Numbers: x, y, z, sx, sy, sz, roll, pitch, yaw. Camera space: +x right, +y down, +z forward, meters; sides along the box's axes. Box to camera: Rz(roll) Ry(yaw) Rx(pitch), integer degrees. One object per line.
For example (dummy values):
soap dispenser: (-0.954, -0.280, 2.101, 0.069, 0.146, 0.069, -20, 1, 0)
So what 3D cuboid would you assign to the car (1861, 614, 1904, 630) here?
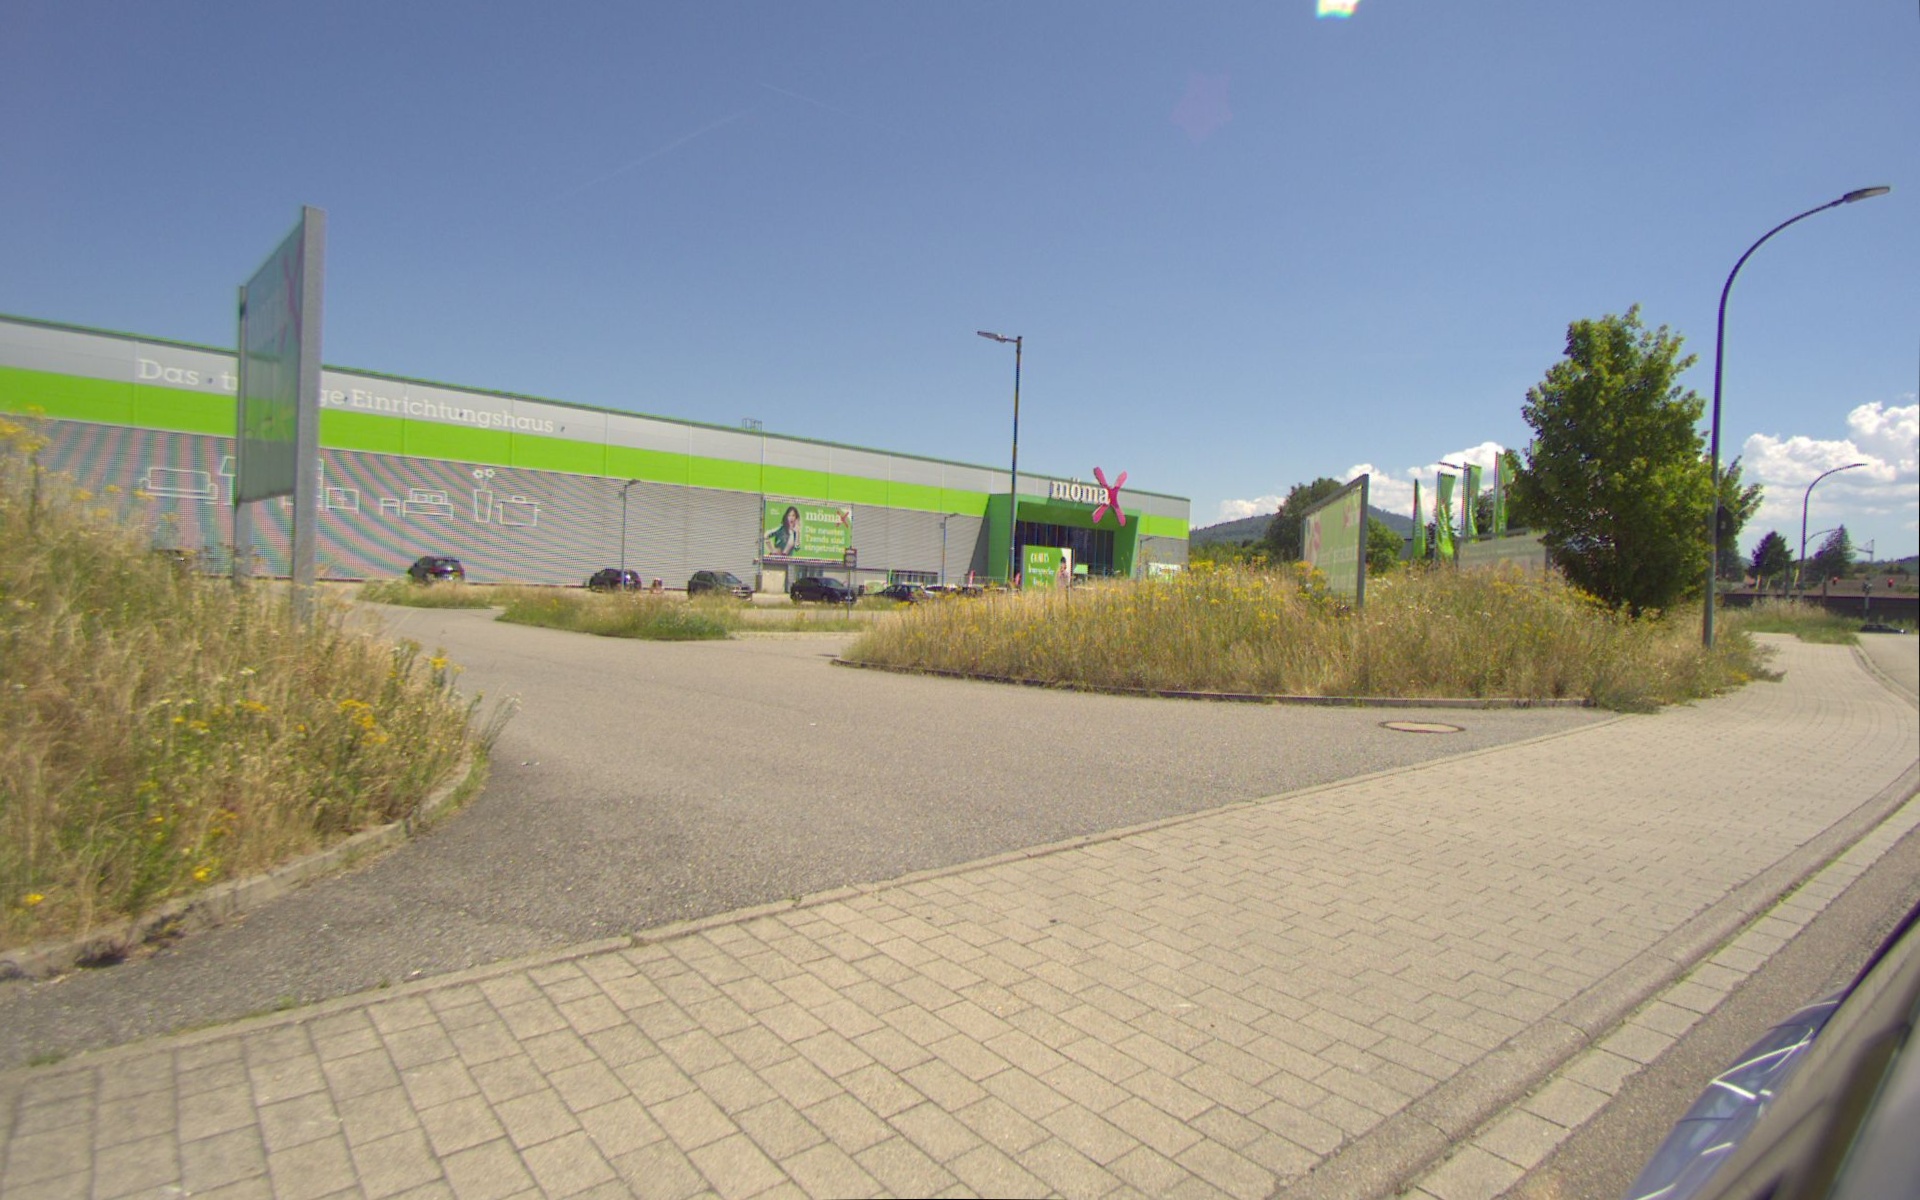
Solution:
car: (112.372, 2.671, 123.295, 1.818, 1.559, 3.739, 0, 4, -42)

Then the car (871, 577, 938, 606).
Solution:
car: (-3.341, -0.518, 60.930, 1.914, 1.523, 3.994, 1, 2, -42)

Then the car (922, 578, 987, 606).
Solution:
car: (-0.363, -0.499, 63.886, 1.914, 1.523, 3.994, 1, 2, -42)

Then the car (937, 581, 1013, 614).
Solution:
car: (0.808, -0.157, 55.382, 1.914, 1.550, 3.994, 1, 2, -42)

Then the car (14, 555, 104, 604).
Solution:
car: (-31.155, -0.732, 34.962, 3.987, 1.538, 1.969, 3, 2, 43)

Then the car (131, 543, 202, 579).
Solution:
car: (-36.862, -1.841, 47.008, 3.986, 1.538, 1.969, 3, 2, 43)

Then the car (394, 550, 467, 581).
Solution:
car: (-28.399, -1.854, 54.214, 4.651, 1.538, 1.969, 3, 2, 43)

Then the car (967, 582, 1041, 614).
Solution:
car: (2.444, -0.122, 57.414, 1.914, 1.550, 3.994, 1, 2, -42)

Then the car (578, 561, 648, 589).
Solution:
car: (-20.721, -1.499, 60.339, 4.651, 1.538, 1.969, 3, 2, 43)

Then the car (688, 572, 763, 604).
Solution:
car: (-12.387, -0.640, 53.275, 1.966, 1.538, 4.414, 1, 2, -42)

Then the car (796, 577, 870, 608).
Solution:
car: (-7.192, -0.450, 56.992, 1.966, 1.538, 4.414, 1, 2, -42)
